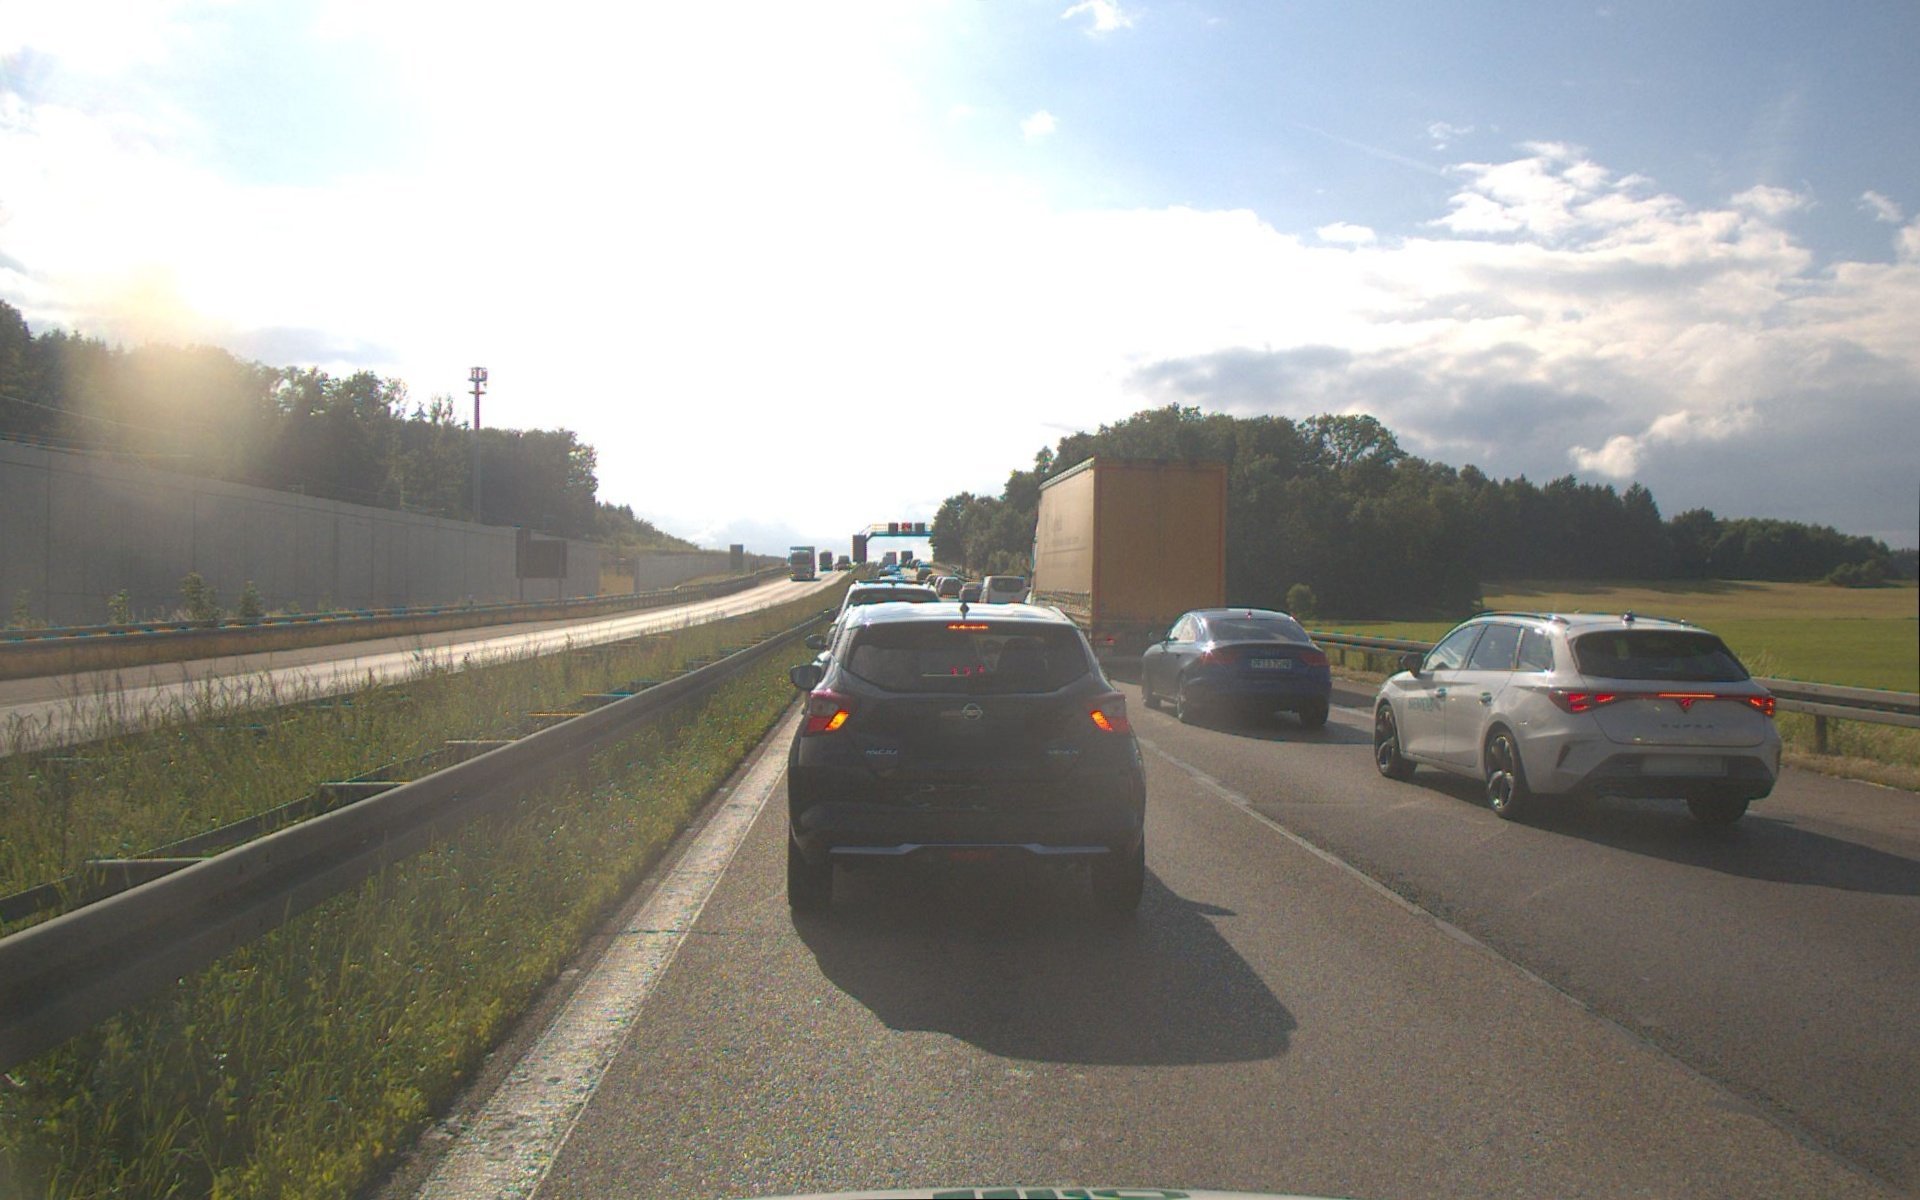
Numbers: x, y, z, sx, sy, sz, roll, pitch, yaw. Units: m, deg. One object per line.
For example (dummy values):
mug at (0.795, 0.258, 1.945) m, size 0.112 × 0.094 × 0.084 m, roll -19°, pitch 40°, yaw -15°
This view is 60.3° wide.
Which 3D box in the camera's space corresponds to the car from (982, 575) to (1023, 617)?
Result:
car at (1.858, -0.171, 73.245) m, size 1.633 × 1.785 × 3.326 m, roll 1°, pitch 0°, yaw -1°

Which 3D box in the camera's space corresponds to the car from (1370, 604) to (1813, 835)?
car at (4.579, 0.780, 12.690) m, size 1.588 × 1.471 × 4.143 m, roll 1°, pitch 0°, yaw -4°

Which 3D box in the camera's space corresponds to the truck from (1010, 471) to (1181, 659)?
truck at (3.367, -0.829, 43.136) m, size 3.511 × 4.456 × 6.684 m, roll 1°, pitch 0°, yaw -3°

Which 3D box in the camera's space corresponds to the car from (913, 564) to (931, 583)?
car at (-4.291, -2.949, 185.926) m, size 1.954 × 2.049 × 3.997 m, roll 1°, pitch 0°, yaw -3°

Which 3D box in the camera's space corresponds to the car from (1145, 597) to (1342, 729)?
car at (3.516, 0.742, 21.234) m, size 1.712 × 1.501 × 4.145 m, roll 1°, pitch 0°, yaw -1°

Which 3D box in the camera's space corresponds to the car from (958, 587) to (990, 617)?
car at (0.952, 0.139, 113.722) m, size 1.954 × 2.049 × 3.997 m, roll 1°, pitch 0°, yaw -3°

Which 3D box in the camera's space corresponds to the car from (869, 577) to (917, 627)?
car at (-2.893, 0.101, 70.422) m, size 1.954 × 2.049 × 3.997 m, roll 1°, pitch 0°, yaw -3°

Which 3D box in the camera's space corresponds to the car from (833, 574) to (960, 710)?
car at (-0.877, 0.560, 23.462) m, size 1.640 × 1.756 × 3.595 m, roll 1°, pitch 0°, yaw -1°

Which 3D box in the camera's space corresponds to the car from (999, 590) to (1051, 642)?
car at (2.308, 0.561, 59.387) m, size 1.633 × 1.785 × 3.326 m, roll 1°, pitch 0°, yaw -1°

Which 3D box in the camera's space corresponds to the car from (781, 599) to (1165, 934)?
car at (0.035, 0.745, 8.986) m, size 1.675 × 1.451 × 3.377 m, roll 1°, pitch 0°, yaw -1°

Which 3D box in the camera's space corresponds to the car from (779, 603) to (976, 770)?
car at (-0.736, 0.741, 15.747) m, size 1.640 × 1.391 × 3.595 m, roll 1°, pitch 0°, yaw -1°

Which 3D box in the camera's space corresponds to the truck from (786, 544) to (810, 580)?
truck at (-19.937, -4.609, 203.690) m, size 2.585 × 4.169 × 6.998 m, roll 1°, pitch 0°, yaw -3°

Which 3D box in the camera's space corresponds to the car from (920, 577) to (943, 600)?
car at (-2.669, -1.058, 155.669) m, size 1.954 × 2.049 × 3.997 m, roll 1°, pitch 0°, yaw -3°

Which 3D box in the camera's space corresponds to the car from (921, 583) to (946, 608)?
car at (-2.239, -0.390, 141.261) m, size 1.954 × 2.049 × 3.997 m, roll 1°, pitch 0°, yaw -3°

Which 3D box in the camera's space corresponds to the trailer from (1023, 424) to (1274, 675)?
trailer at (3.713, -0.904, 36.720) m, size 3.478 × 4.535 × 12.714 m, roll 1°, pitch 0°, yaw -3°

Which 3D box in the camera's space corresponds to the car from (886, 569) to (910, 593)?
car at (-5.447, -1.666, 145.282) m, size 1.954 × 2.049 × 3.997 m, roll 1°, pitch 0°, yaw -3°

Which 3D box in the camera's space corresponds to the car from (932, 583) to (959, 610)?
car at (-1.167, -0.283, 131.986) m, size 1.954 × 2.049 × 3.997 m, roll 1°, pitch 0°, yaw -3°

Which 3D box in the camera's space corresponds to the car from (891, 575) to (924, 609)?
car at (-3.287, -0.482, 102.469) m, size 1.954 × 2.049 × 3.997 m, roll 1°, pitch 0°, yaw -3°
